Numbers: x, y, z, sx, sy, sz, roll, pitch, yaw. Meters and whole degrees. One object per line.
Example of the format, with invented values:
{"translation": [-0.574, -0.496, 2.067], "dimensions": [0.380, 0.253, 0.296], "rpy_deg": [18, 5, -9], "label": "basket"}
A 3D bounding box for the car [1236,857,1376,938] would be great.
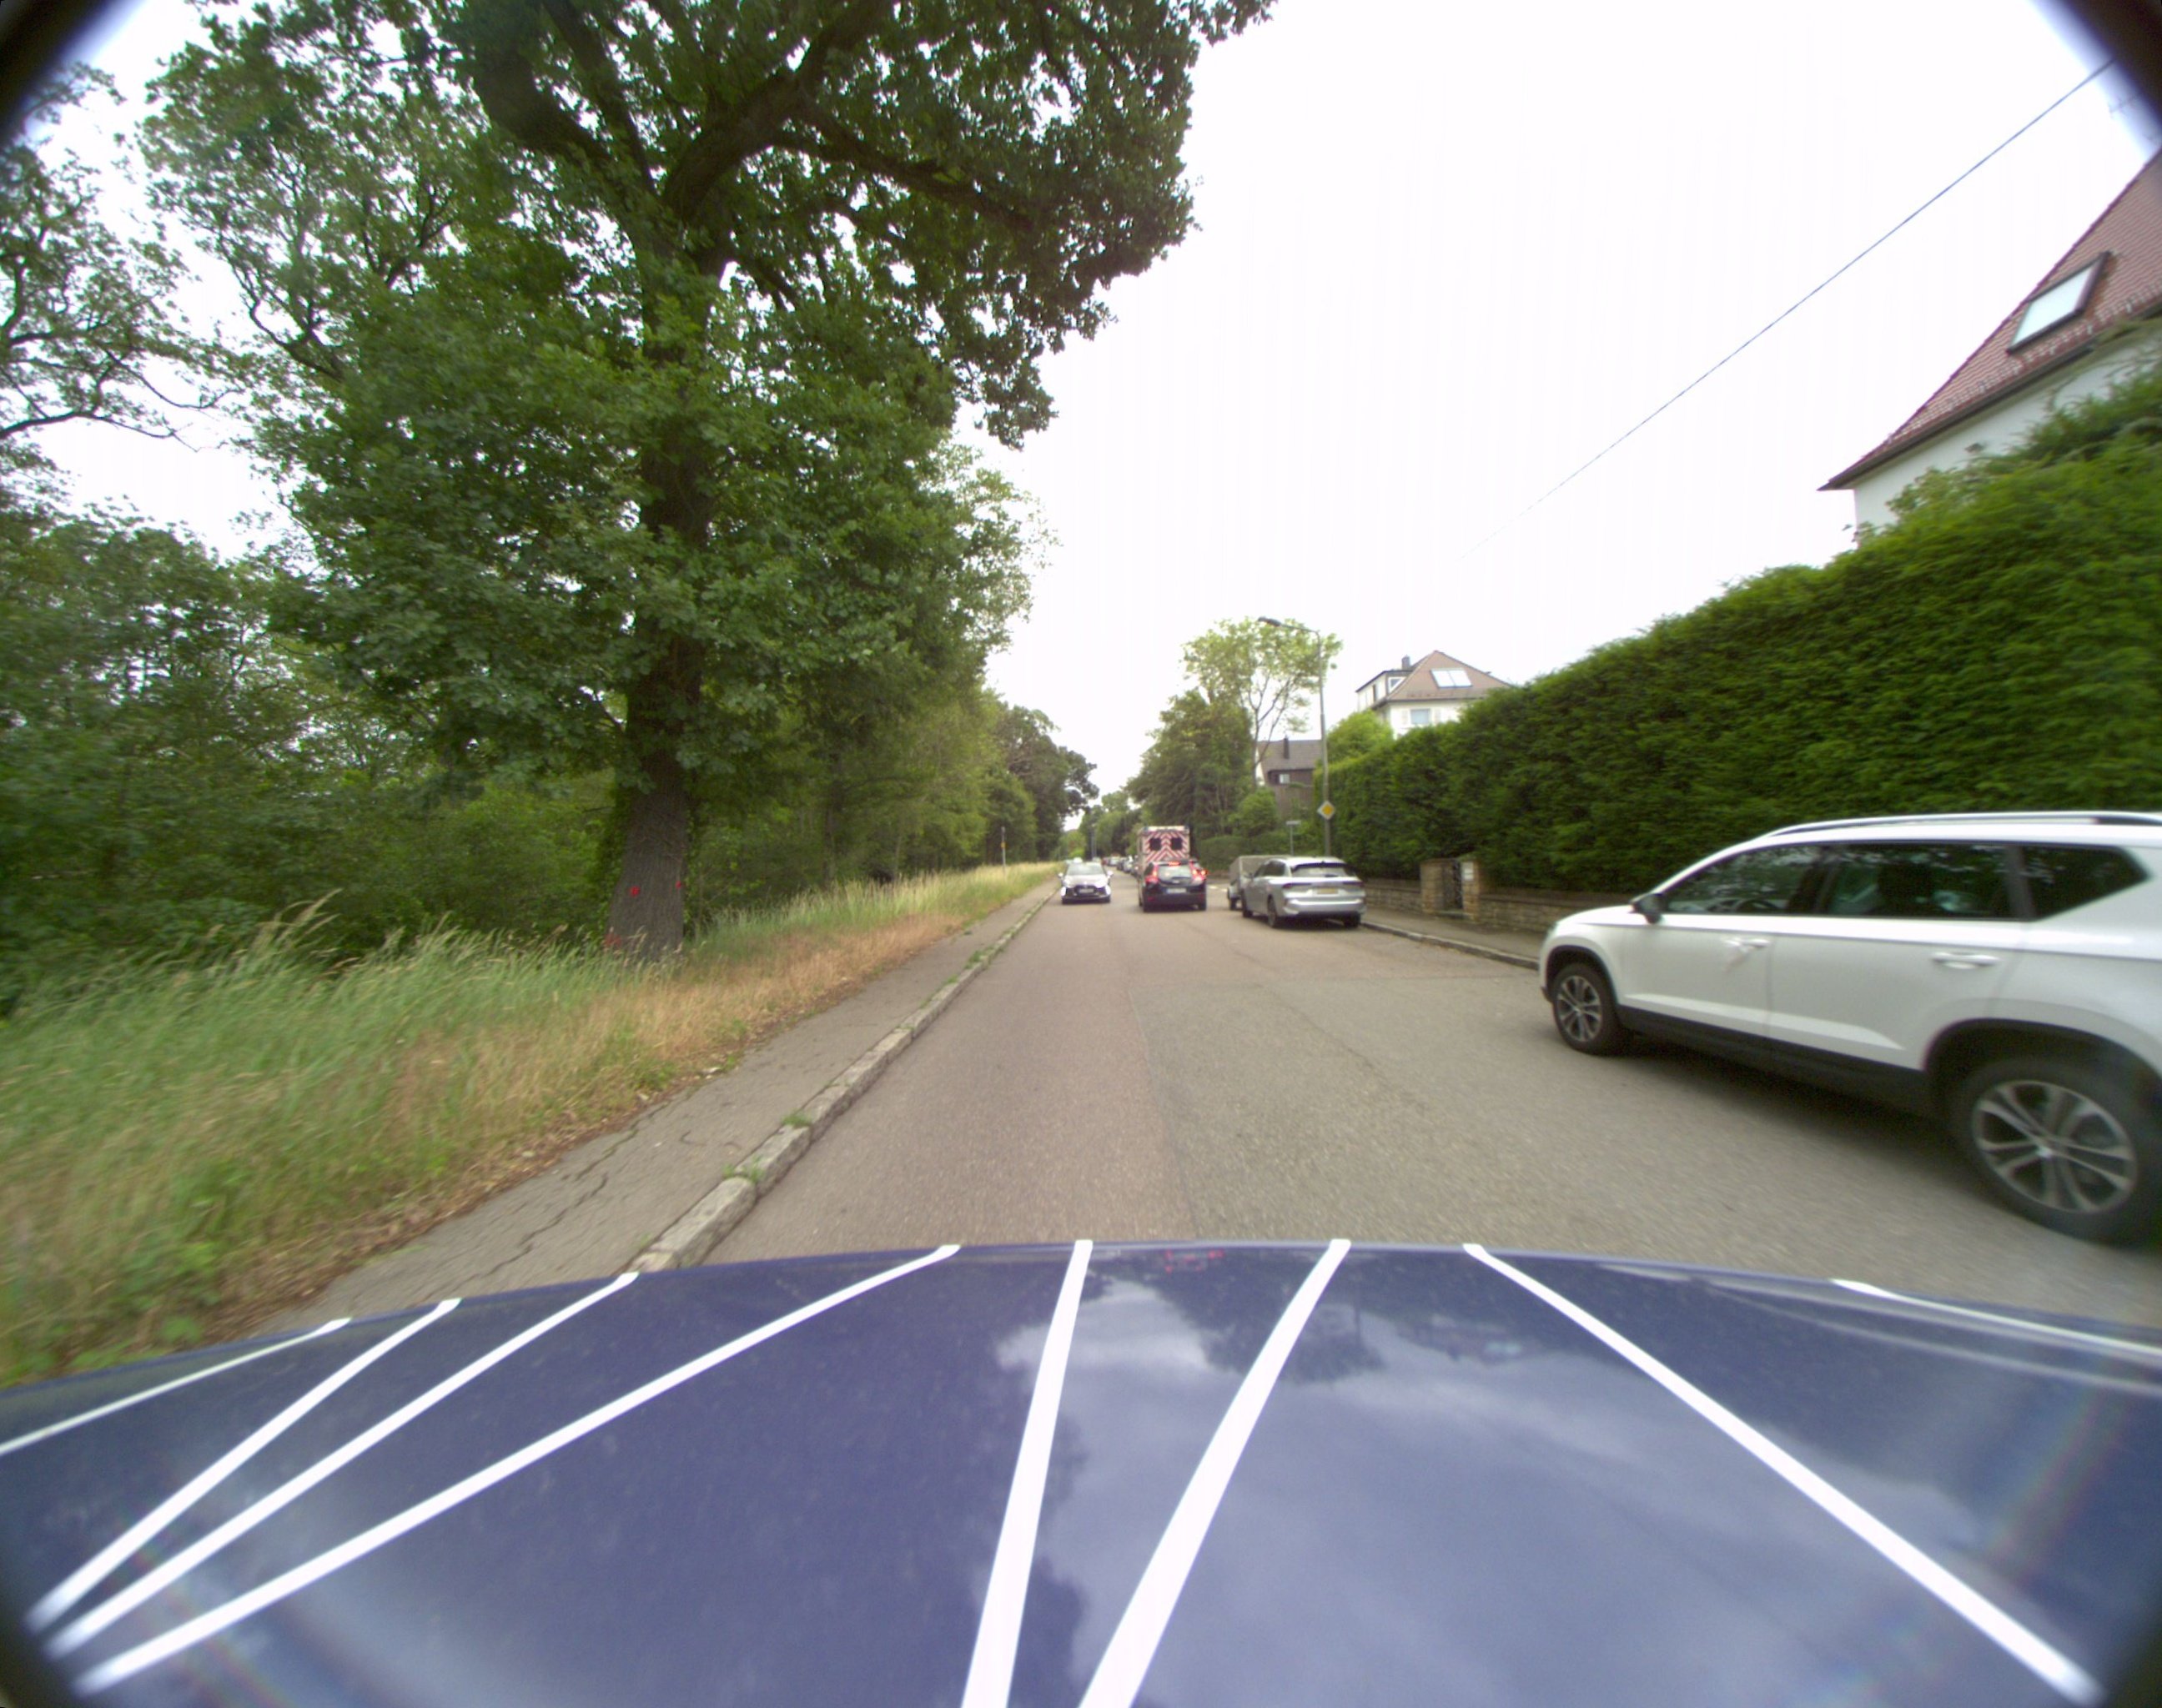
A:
{"translation": [4.729, 0.837, 16.680], "dimensions": [1.768, 1.490, 4.473], "rpy_deg": [-1, 0, 0], "label": "car"}

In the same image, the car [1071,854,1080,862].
{"translation": [-1.204, 0.946, 172.700], "dimensions": [1.998, 1.678, 4.710], "rpy_deg": [-3, 0, 0], "label": "car"}

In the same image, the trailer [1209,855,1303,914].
{"translation": [4.961, 0.812, 22.117], "dimensions": [1.768, 1.487, 4.474], "rpy_deg": [-2, 0, 1], "label": "trailer"}

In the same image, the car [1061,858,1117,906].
{"translation": [0.253, 0.967, 27.525], "dimensions": [1.788, 1.491, 4.014], "rpy_deg": [-4, 0, -1], "label": "car"}

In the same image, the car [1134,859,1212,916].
{"translation": [2.610, 0.905, 22.572], "dimensions": [1.768, 1.437, 4.473], "rpy_deg": [-2, 0, 0], "label": "car"}

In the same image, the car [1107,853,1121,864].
{"translation": [5.097, 0.708, 118.238], "dimensions": [1.788, 1.491, 4.014], "rpy_deg": [-3, 0, -1], "label": "car"}

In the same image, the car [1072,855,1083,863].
{"translation": [-0.701, 1.010, 154.409], "dimensions": [1.999, 1.678, 4.709], "rpy_deg": [-3, 0, -2], "label": "car"}

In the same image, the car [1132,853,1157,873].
{"translation": [4.990, 0.704, 60.094], "dimensions": [1.724, 1.496, 4.008], "rpy_deg": [0, 0, 1], "label": "car"}

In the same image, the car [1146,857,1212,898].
{"translation": [3.755, 0.874, 29.829], "dimensions": [1.768, 1.437, 4.472], "rpy_deg": [-2, 0, -2], "label": "car"}

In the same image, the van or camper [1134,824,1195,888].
{"translation": [4.065, 0.091, 38.288], "dimensions": [2.462, 2.878, 7.168], "rpy_deg": [-2, 0, 2], "label": "van or camper"}

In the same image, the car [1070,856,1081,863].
{"translation": [-1.417, 1.535, 195.820], "dimensions": [2.000, 1.678, 4.707], "rpy_deg": [-3, 0, -10], "label": "car"}

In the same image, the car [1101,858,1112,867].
{"translation": [4.653, 1.513, 138.529], "dimensions": [1.741, 1.431, 3.787], "rpy_deg": [-3, 0, -2], "label": "car"}

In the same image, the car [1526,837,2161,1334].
{"translation": [4.461, 0.754, 3.915], "dimensions": [1.843, 1.639, 4.185], "rpy_deg": [-1, 0, -1], "label": "car"}

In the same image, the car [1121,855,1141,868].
{"translation": [5.473, 0.808, 83.923], "dimensions": [1.739, 1.431, 4.262], "rpy_deg": [-1, 0, -2], "label": "car"}

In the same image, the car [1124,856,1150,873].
{"translation": [5.219, 0.944, 71.063], "dimensions": [1.921, 1.553, 4.603], "rpy_deg": [0, 0, -2], "label": "car"}

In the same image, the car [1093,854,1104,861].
{"translation": [3.685, 0.710, 158.590], "dimensions": [1.765, 1.441, 4.042], "rpy_deg": [-3, 0, -6], "label": "car"}
